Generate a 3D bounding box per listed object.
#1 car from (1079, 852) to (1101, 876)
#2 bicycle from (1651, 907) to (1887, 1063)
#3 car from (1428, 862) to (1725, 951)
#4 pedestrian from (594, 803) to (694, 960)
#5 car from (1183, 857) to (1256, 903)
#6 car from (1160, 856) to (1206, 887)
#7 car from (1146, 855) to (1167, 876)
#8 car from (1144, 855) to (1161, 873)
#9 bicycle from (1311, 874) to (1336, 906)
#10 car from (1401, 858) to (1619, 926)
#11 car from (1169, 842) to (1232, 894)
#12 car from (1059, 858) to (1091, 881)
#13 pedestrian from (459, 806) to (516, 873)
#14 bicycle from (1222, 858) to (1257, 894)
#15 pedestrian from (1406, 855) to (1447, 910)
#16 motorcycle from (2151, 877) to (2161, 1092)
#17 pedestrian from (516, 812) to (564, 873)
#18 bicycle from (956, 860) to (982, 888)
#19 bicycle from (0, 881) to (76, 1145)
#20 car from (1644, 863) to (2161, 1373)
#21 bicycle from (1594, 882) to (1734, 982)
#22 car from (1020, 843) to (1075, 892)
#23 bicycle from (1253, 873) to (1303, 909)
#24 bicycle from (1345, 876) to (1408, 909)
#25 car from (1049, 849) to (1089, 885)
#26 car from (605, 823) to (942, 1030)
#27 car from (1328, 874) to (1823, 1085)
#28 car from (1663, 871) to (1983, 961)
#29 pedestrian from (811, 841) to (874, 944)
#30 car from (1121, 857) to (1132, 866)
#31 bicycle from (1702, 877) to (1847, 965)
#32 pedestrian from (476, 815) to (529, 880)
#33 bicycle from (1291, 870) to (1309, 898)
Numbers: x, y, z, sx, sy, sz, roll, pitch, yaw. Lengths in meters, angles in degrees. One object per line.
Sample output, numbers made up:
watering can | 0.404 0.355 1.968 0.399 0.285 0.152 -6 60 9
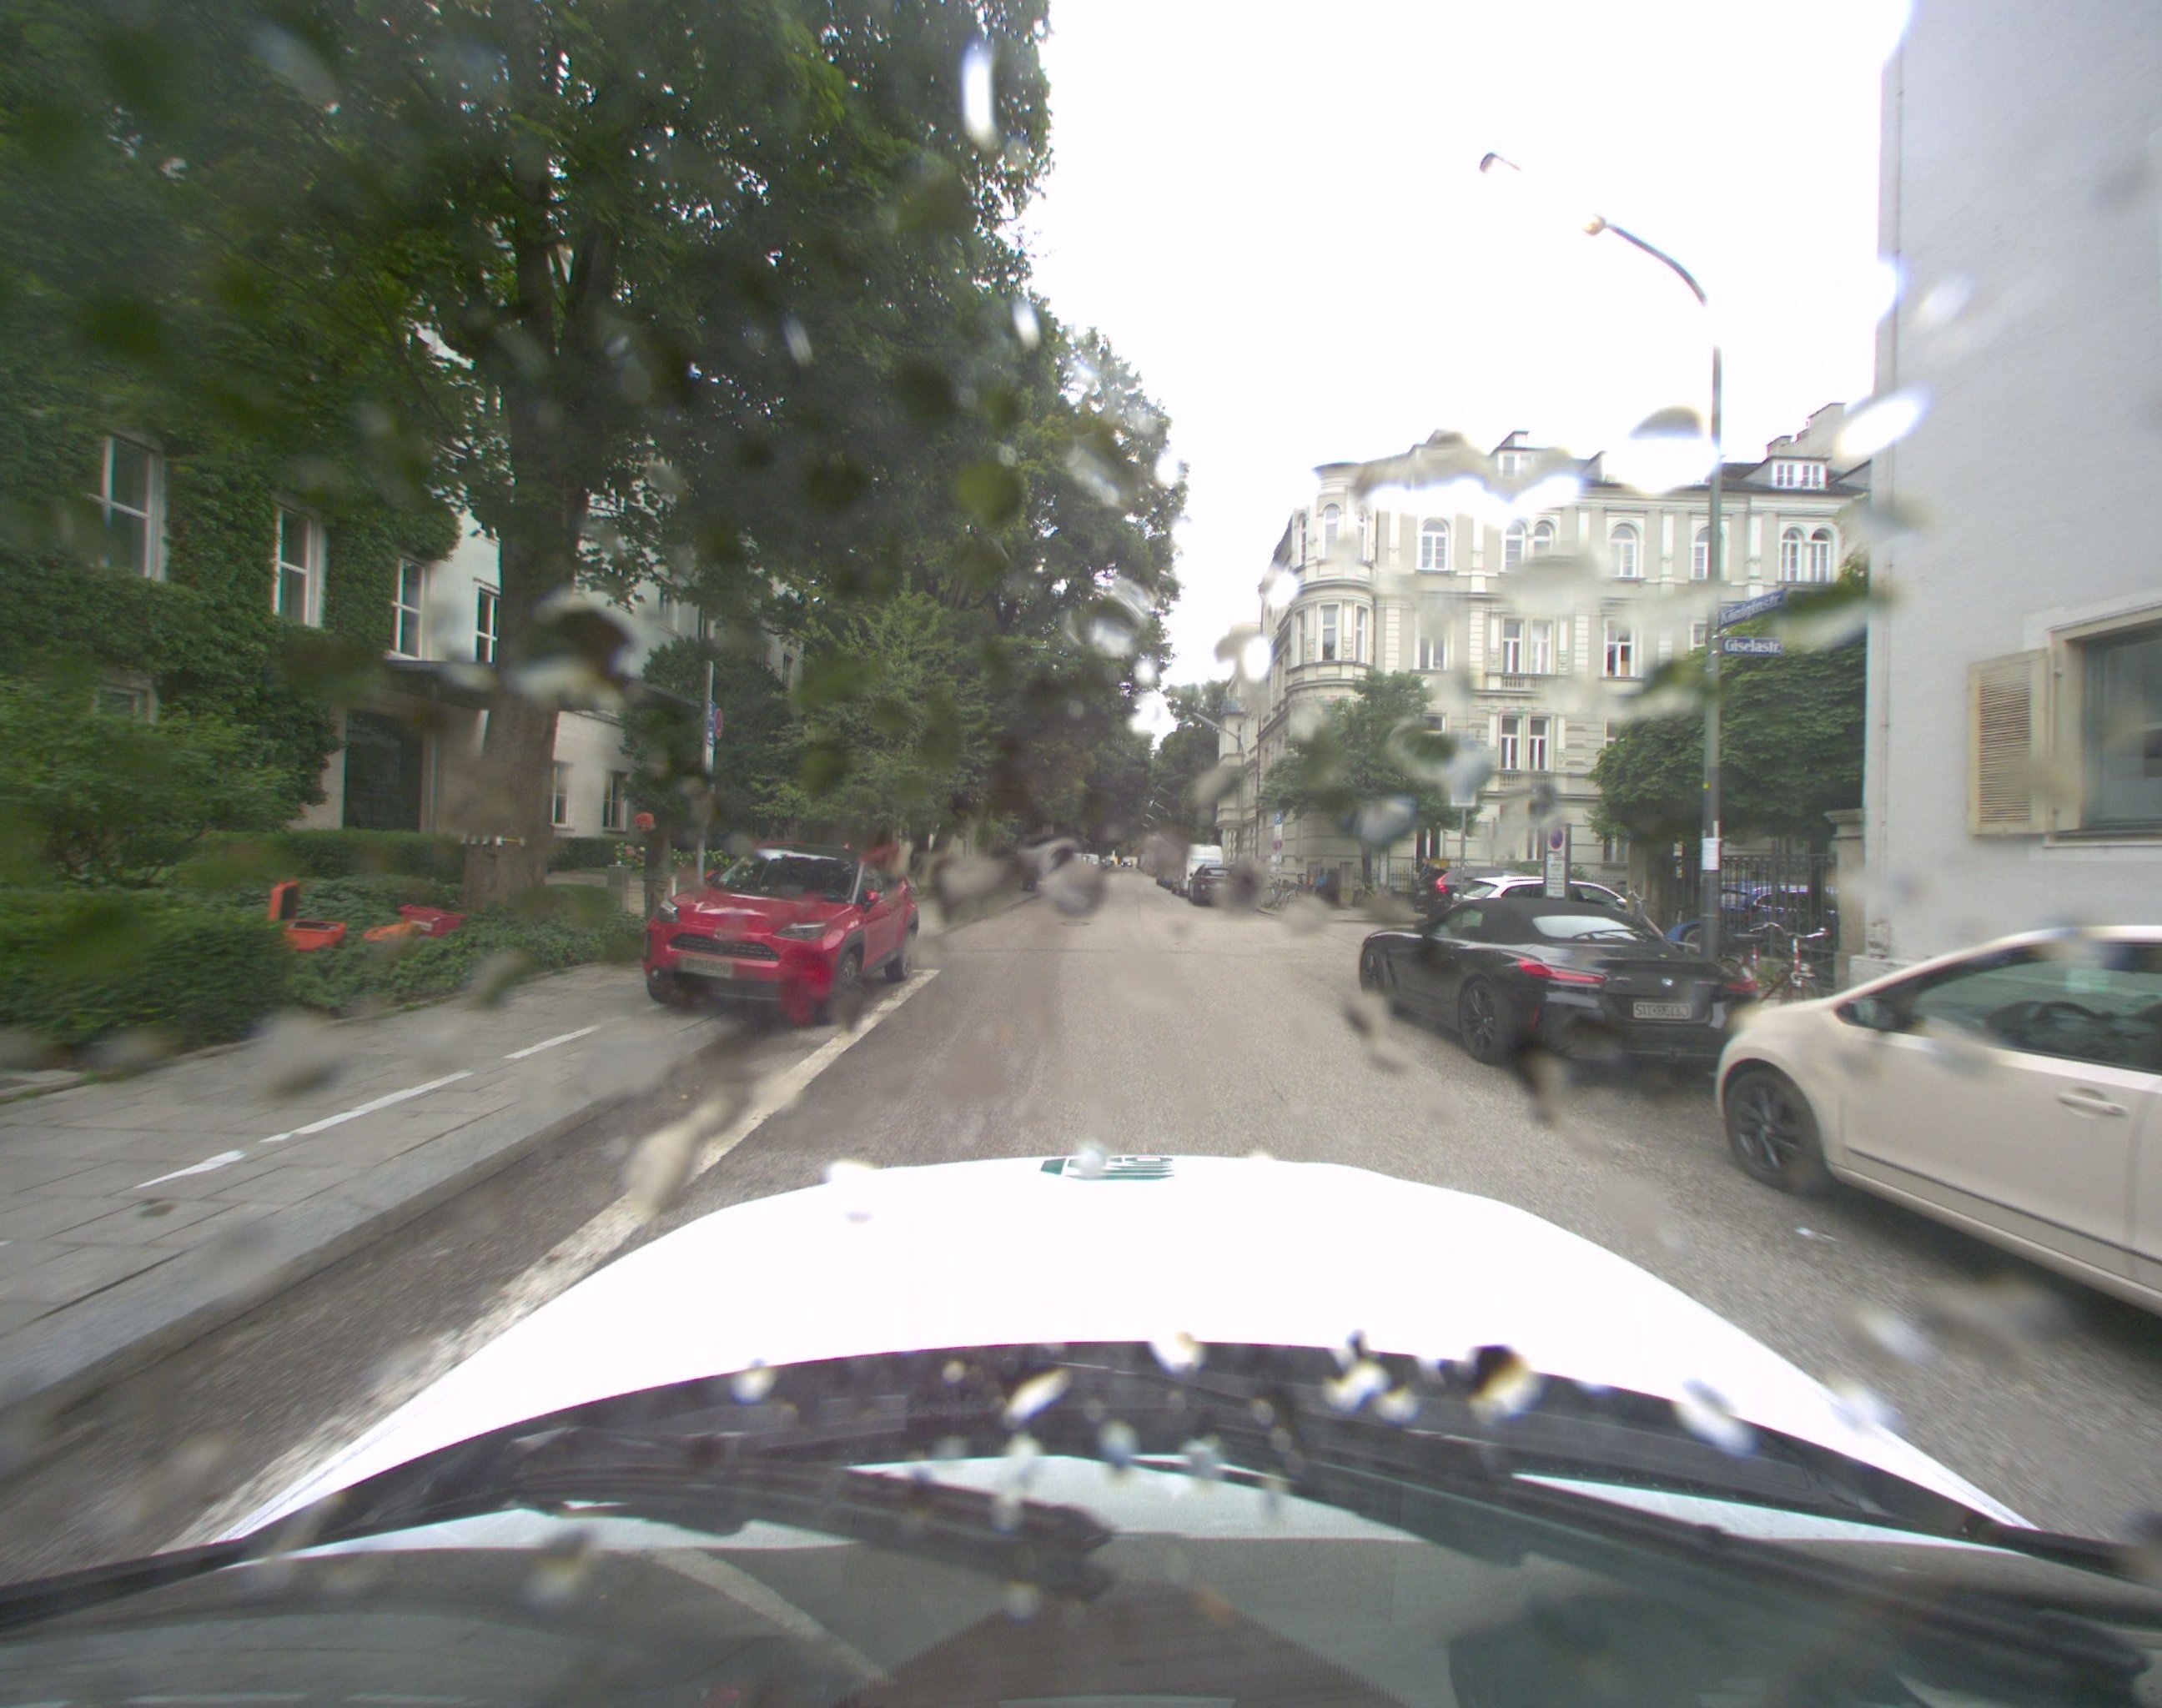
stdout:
car | 0.926 0.995 81.734 1.995 2.186 4.697 3 0 2
bicycle | 5.982 1.069 7.249 0.659 1.063 1.943 1 0 7
car | 9.936 1.024 16.602 4.891 1.531 1.913 1 2 -1
pedestrian | -5.435 0.332 10.174 0.710 1.852 0.797 3 -1 0
car | 5.004 0.913 30.013 2.262 1.546 4.592 0 -1 4
car | 5.689 0.974 45.815 2.131 1.630 4.316 0 -1 1
car | 7.365 1.156 80.005 1.984 1.975 4.005 1 0 4
car | 8.677 1.194 99.172 1.984 2.014 4.005 1 0 4
bicycle | 8.526 1.242 28.689 0.428 1.028 1.893 1 1 4
car | 11.665 1.063 22.391 5.022 1.653 1.943 2 -4 -1
car | 5.337 0.610 36.978 2.196 2.208 4.855 0 -1 1
car | -0.388 1.119 60.154 2.061 1.519 4.239 3 0 2
pedestrian | -15.926 -0.372 21.870 0.895 1.753 0.752 1 -1 -1
bicycle | 7.088 0.965 36.427 0.708 1.515 2.029 1 0 -14
pedestrian | 10.907 0.889 25.724 0.969 1.689 0.860 0 -1 1
motorcycle | 7.705 0.881 4.173 0.854 1.433 2.705 1 0 -2
pedestrian | -15.988 -0.320 24.089 0.748 1.753 0.900 2 -2 -2
bicycle | -4.582 0.811 33.402 0.630 1.102 1.769 3 -1 4
bicycle | -5.093 0.688 2.769 0.646 1.130 2.051 1 0 7
car | 4.254 0.901 3.009 1.764 1.546 3.713 6 0 2
bicycle | 7.950 1.023 11.215 0.541 1.225 1.773 1 -1 -5
car | -1.432 0.601 37.036 2.241 1.956 5.452 3 0 0
bicycle | 6.392 1.176 26.512 0.654 1.028 2.192 1 1 -13
bicycle | 9.900 1.282 27.330 1.913 1.028 0.558 1 1 5
car | -0.709 0.738 48.746 2.177 1.956 5.165 3 0 0
car | -2.876 0.600 8.874 1.881 1.590 4.527 3 0 0
car | 4.093 0.913 7.884 1.993 1.319 4.594 -1 0 0
car | 15.008 1.215 16.670 4.845 1.506 1.935 2 1 -1
pedestrian | -3.776 0.596 12.929 0.712 1.548 0.752 3 -1 -4
car | 9.641 1.576 172.528 1.981 1.783 4.011 1 0 10
bicycle | 10.843 1.046 12.750 1.909 1.275 0.467 2 0 -3
pedestrian | -16.118 -0.165 22.716 0.748 1.753 0.900 2 -2 -2
bicycle | 8.667 1.176 32.243 0.542 1.060 1.756 1 0 12
